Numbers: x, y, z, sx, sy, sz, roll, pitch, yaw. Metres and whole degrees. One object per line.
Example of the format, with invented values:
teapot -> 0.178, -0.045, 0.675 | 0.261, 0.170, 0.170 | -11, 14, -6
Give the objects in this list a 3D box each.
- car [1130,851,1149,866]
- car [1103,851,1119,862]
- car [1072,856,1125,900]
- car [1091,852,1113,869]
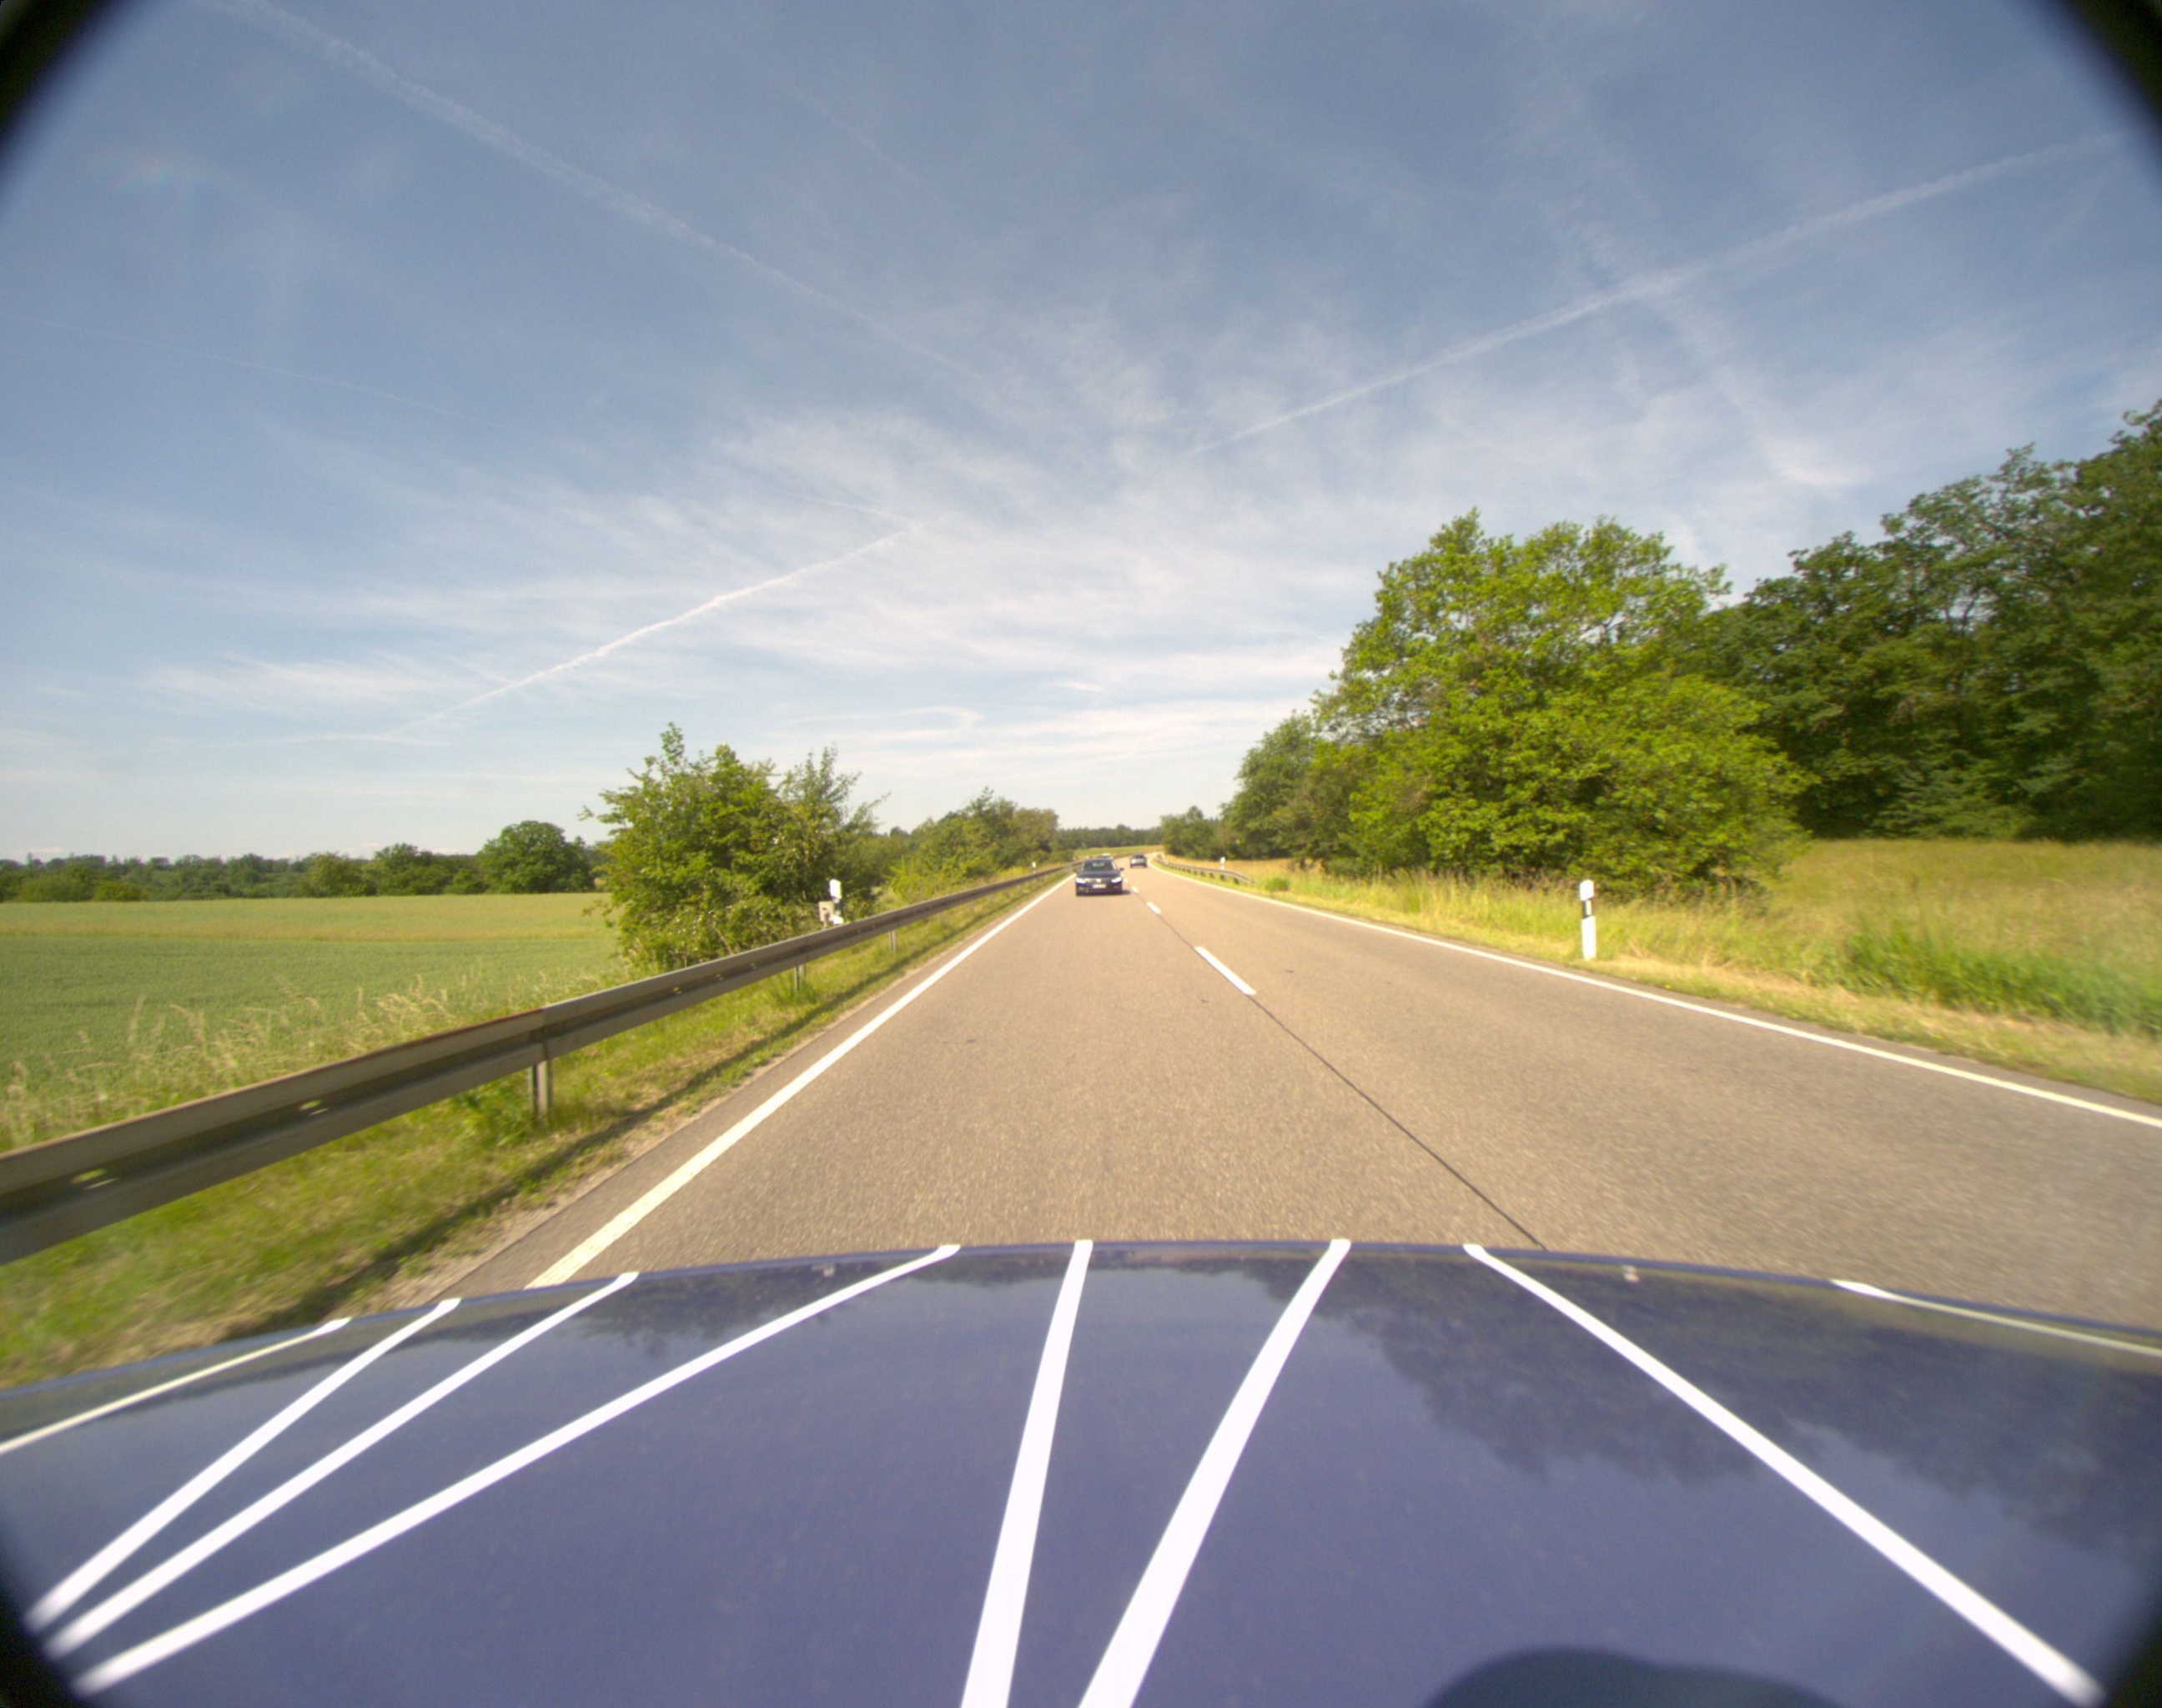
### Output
car -> 6.379, 0.439, 82.685 | 1.749, 1.506, 4.053 | -1, 0, 1
car -> 4.267, 0.344, 108.253 | 1.928, 1.501, 4.292 | -3, -1, 0
car -> 0.712, 0.865, 29.334 | 1.821, 1.501, 4.502 | -2, -1, 2
car -> 1.980, 0.616, 70.937 | 1.928, 1.501, 4.292 | -2, -1, 2
